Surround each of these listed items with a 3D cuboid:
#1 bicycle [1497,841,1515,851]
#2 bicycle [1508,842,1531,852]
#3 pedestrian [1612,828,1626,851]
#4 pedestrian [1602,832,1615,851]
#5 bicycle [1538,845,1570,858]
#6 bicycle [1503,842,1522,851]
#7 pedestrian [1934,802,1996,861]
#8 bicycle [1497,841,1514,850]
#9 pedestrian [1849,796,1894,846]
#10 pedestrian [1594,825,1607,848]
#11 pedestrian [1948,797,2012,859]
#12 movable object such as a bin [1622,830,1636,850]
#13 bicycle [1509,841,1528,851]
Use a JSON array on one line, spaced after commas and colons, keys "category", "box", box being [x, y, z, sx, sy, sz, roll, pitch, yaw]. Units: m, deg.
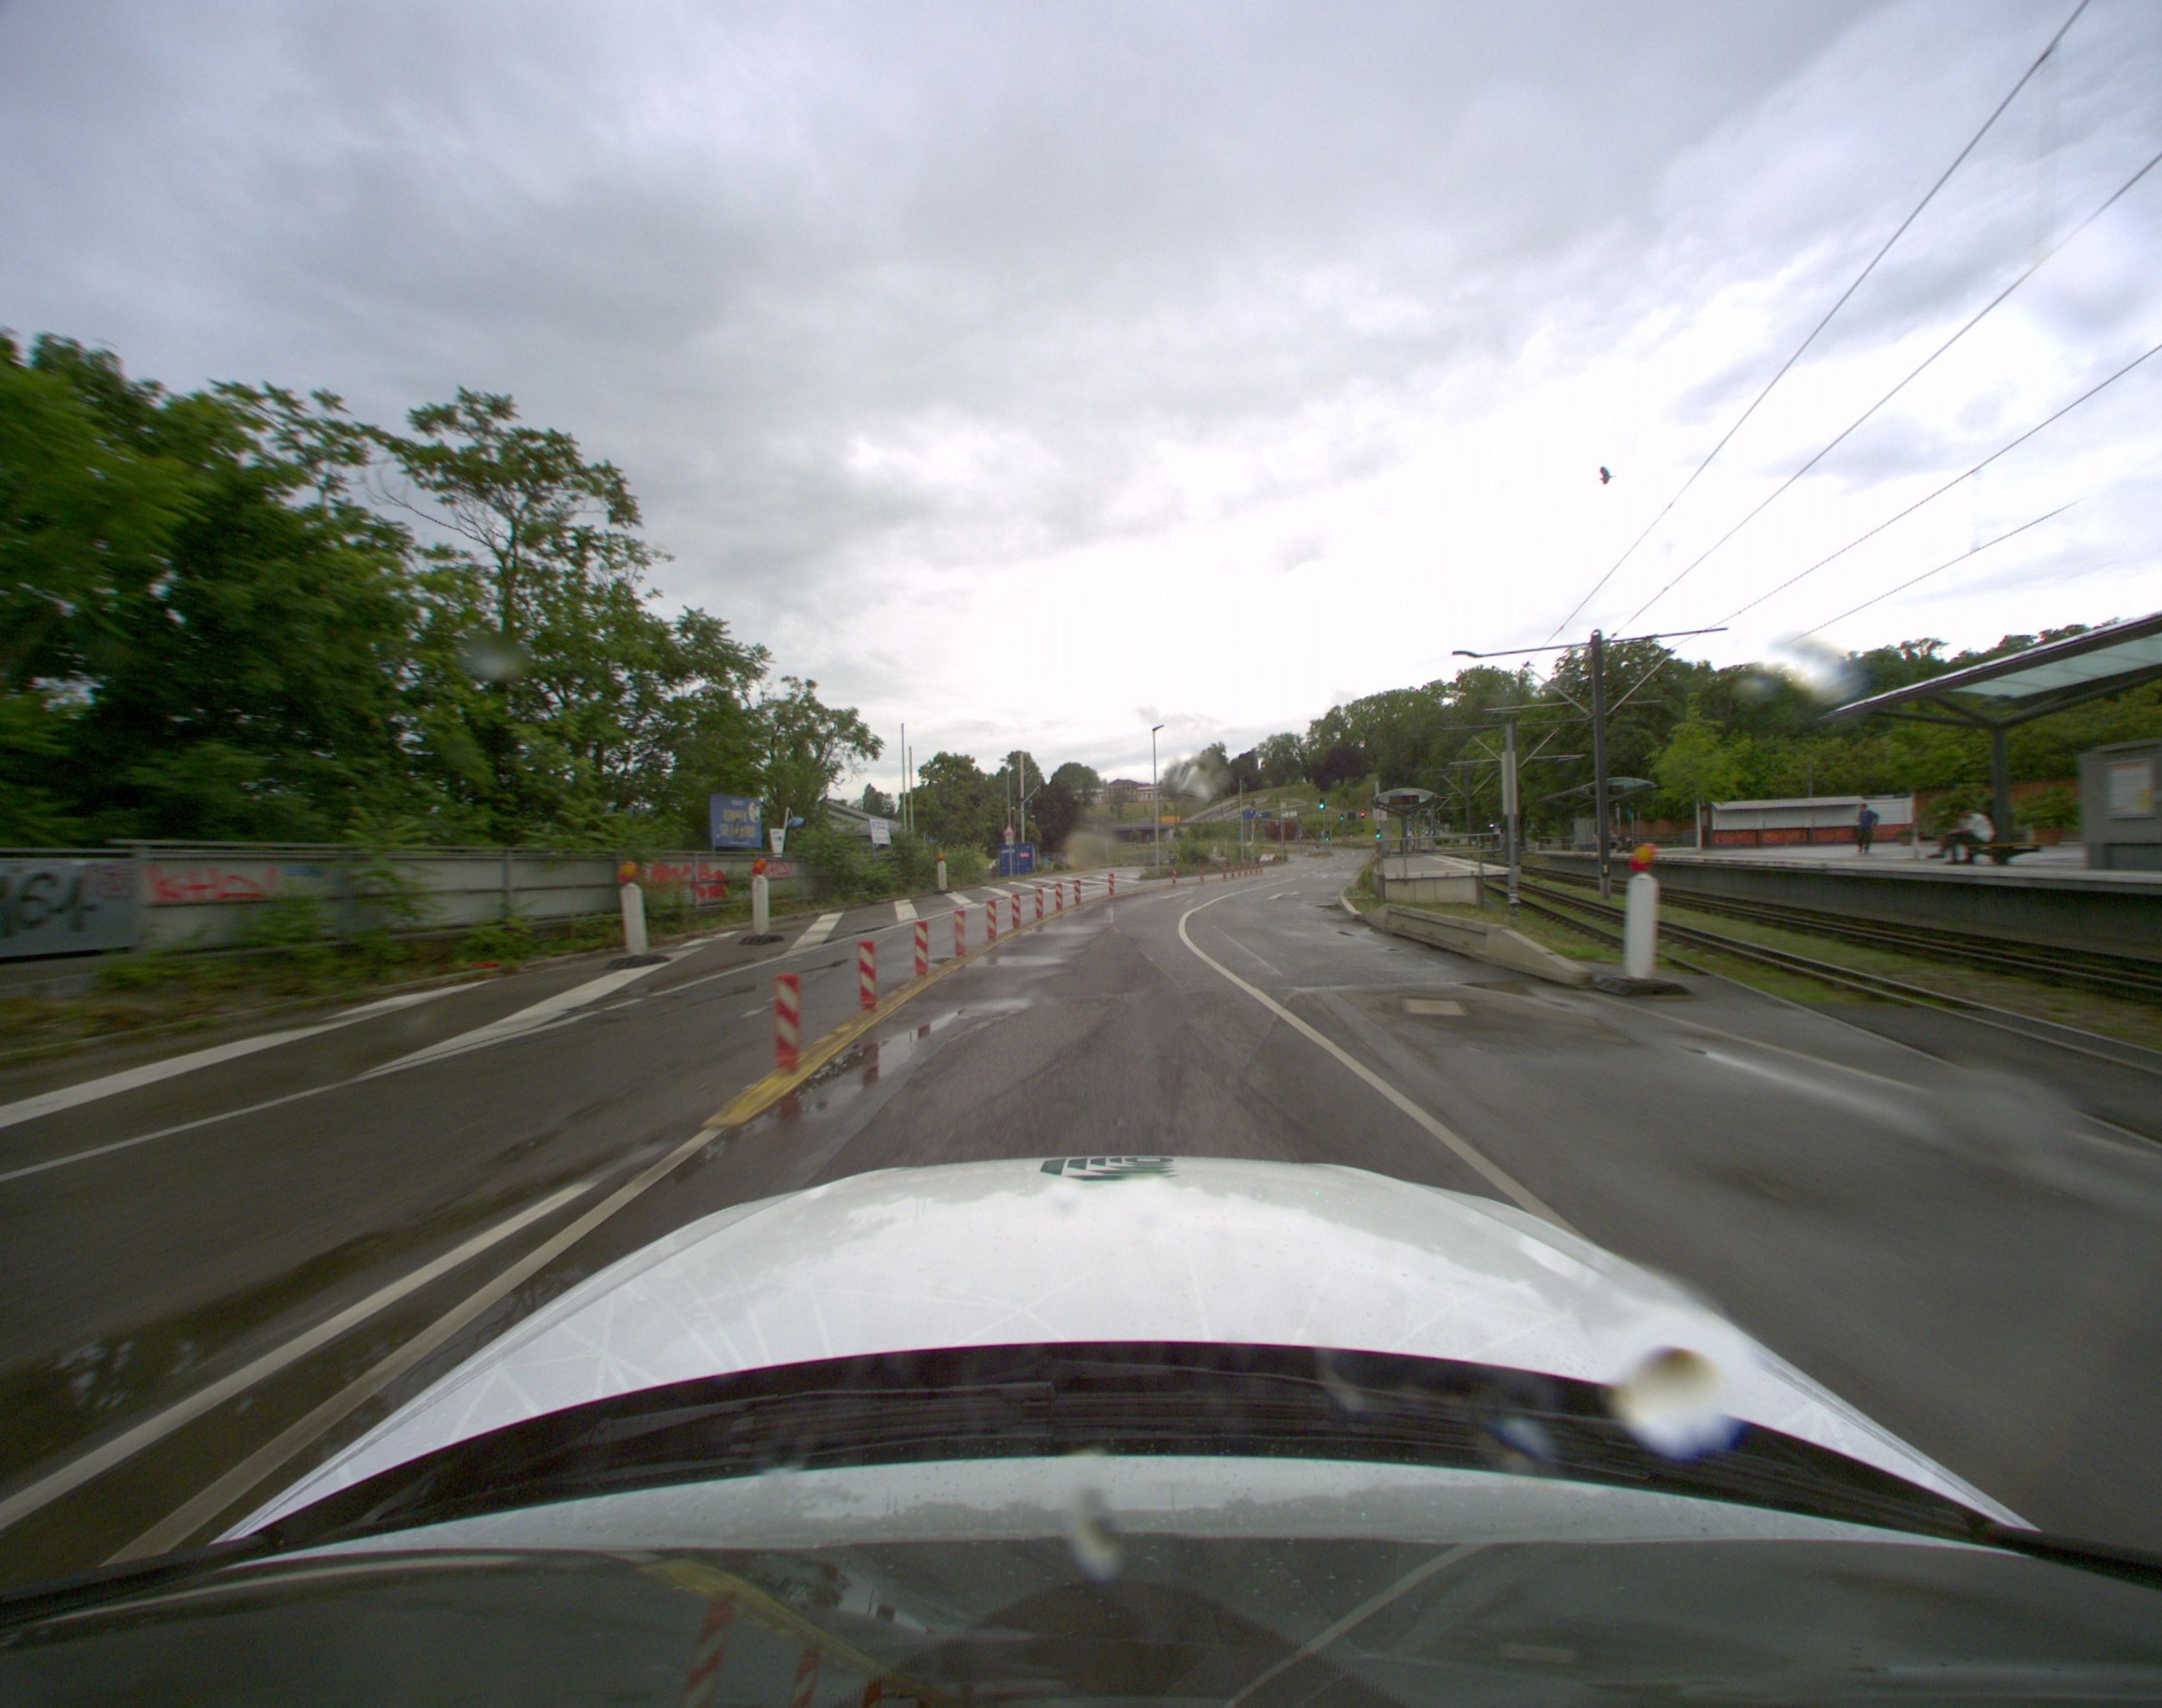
[{"category": "bicycle", "box": [51.991, -0.974, 99.650, 1.795, 1.032, 0.656, -3, 0, 18]}, {"category": "bicycle", "box": [49.892, -0.848, 92.639, 2.205, 1.032, 0.692, -3, 0, 18]}, {"category": "pedestrian", "box": [28.975, -0.780, 43.863, 0.433, 1.226, 0.554, -3, -1, 21]}, {"category": "pedestrian", "box": [27.985, -0.671, 43.178, 0.433, 1.009, 0.554, -3, -1, 21]}, {"category": "bicycle", "box": [40.400, -0.204, 69.577, 2.302, 0.957, 0.573, -3, 0, 19]}, {"category": "bicycle", "box": [50.847, -0.878, 95.969, 1.795, 1.032, 0.656, -3, 0, 18]}, {"category": "pedestrian", "box": [17.484, -0.444, 16.116, 0.597, 1.119, 0.521, 3, 0, 5]}, {"category": "bicycle", "box": [52.734, -1.009, 101.160, 1.795, 1.032, 0.656, -3, 0, 18]}, {"category": "pedestrian", "box": [29.675, -1.217, 30.580, 0.714, 1.790, 1.188, -3, 0, 21]}, {"category": "pedestrian", "box": [28.084, -0.943, 44.008, 0.433, 1.226, 0.554, -3, -1, 21]}, {"category": "pedestrian", "box": [18.394, -0.519, 16.673, 0.514, 1.212, 0.786, 3, 0, 17]}, {"category": "movable object such as a bin", "box": [28.780, -0.748, 42.798, 0.433, 1.009, 0.685, -3, -1, 21]}, {"category": "bicycle", "box": [50.196, -0.877, 93.464, 1.795, 1.032, 0.656, -3, 0, 18]}]
